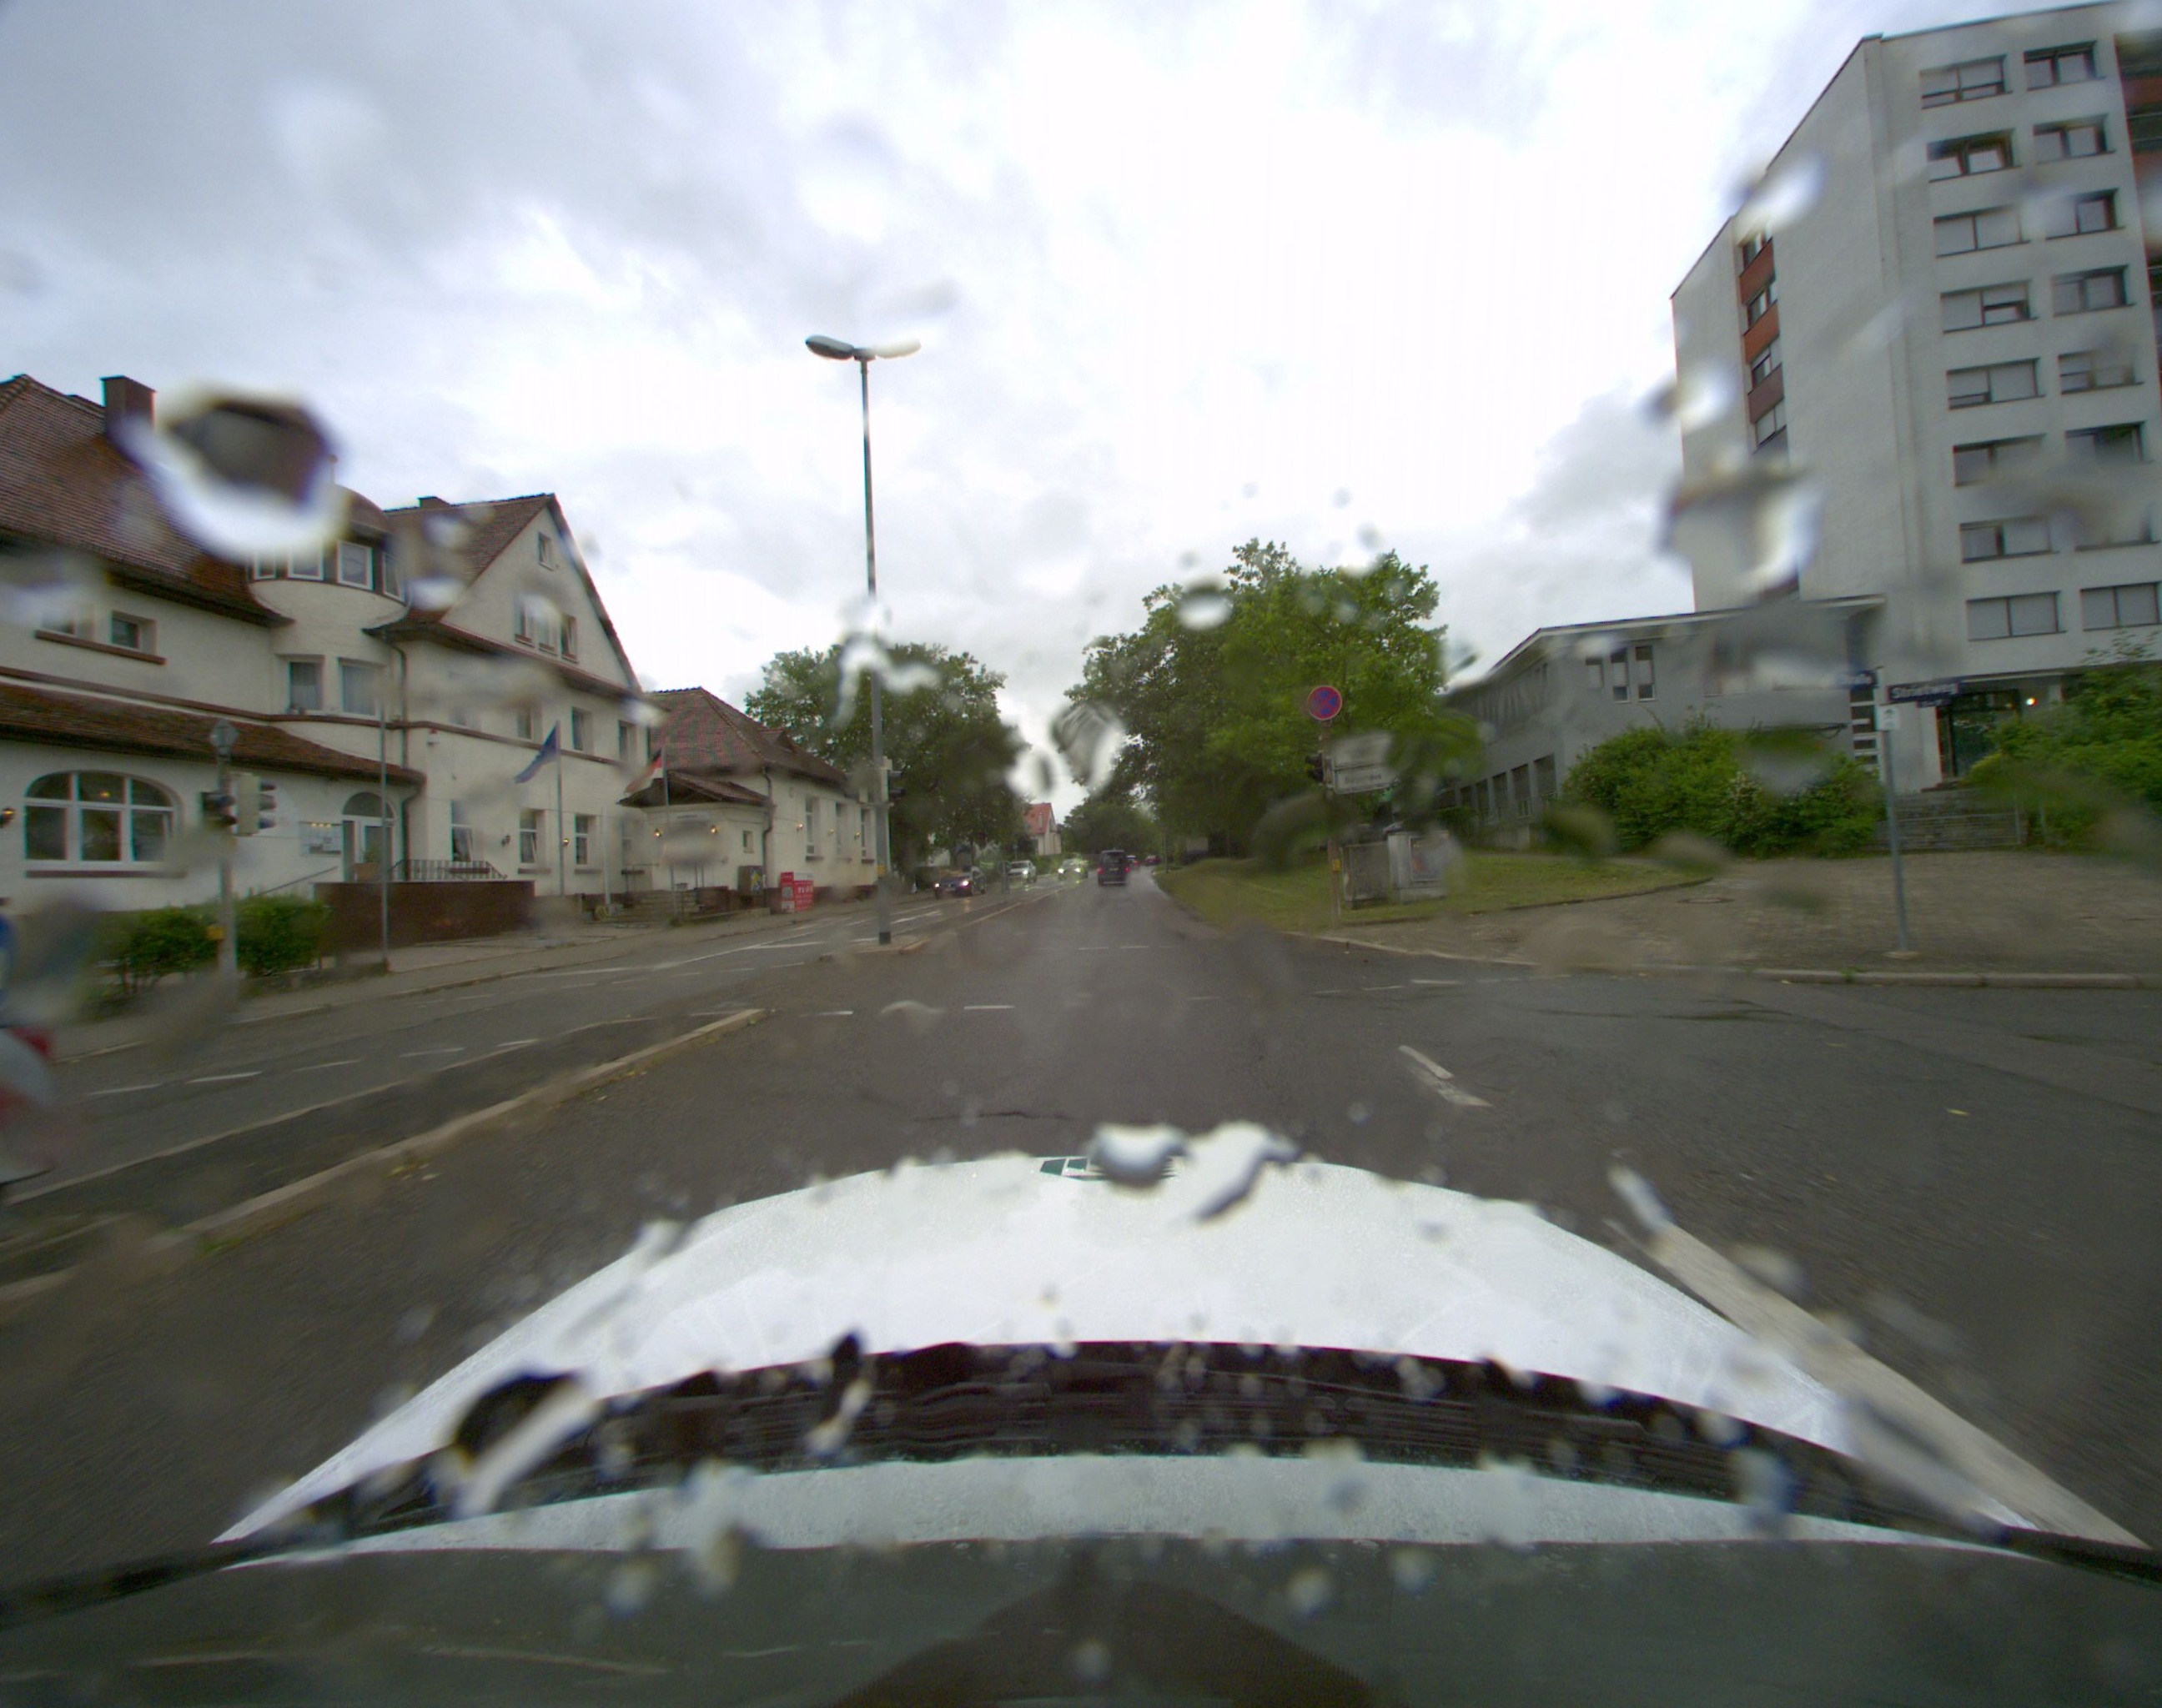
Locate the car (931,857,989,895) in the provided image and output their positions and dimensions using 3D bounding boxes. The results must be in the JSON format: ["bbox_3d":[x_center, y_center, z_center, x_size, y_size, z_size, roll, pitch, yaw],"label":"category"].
[{"bbox_3d":[-5.633,1.003,38.465,1.785,1.527,4.213,-3,1,4],"label":"car"}]

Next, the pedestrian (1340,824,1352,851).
[{"bbox_3d":[17.897,-1.093,55.038,0.555,1.763,0.728,-1,-1,1],"label":"pedestrian"}]

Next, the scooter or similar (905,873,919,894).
[{"bbox_3d":[-8.841,1.521,42.714,0.388,1.064,1.411,-1,-1,2],"label":"scooter or similar"}]

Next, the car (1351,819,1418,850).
[{"bbox_3d":[20.060,-1.261,53.955,3.957,1.931,2.008,-1,-1,15],"label":"car"}]

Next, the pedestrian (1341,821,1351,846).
[{"bbox_3d":[17.958,-1.379,55.169,0.596,1.617,0.527,-1,-1,12],"label":"pedestrian"}]

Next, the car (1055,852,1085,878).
[{"bbox_3d":[-0.758,0.766,57.648,1.740,1.671,3.711,-3,1,4],"label":"car"}]

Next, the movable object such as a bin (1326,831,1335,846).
[{"bbox_3d":[15.527,-0.954,50.696,0.446,0.906,0.465,-2,-1,21],"label":"movable object such as a bin"}]

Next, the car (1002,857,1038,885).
[{"bbox_3d":[-4.136,1.134,56.055,1.822,1.671,4.055,-3,1,4],"label":"car"}]

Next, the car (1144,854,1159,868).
[{"bbox_3d":[9.716,0.919,112.783,1.985,1.882,4.004,-1,0,4],"label":"car"}]

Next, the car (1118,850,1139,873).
[{"bbox_3d":[4.095,0.639,70.010,1.698,1.808,3.687,-1,0,3],"label":"car"}]

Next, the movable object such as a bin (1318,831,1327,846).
[{"bbox_3d":[15.076,-0.943,50.875,0.446,0.906,0.465,-2,-1,21],"label":"movable object such as a bin"}]

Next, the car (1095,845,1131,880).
[{"bbox_3d":[1.761,0.450,44.116,1.805,1.808,3.759,-1,0,3],"label":"car"}]

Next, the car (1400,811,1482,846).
[{"bbox_3d":[20.514,-1.420,46.520,3.958,1.816,2.007,-1,-1,14],"label":"car"}]
